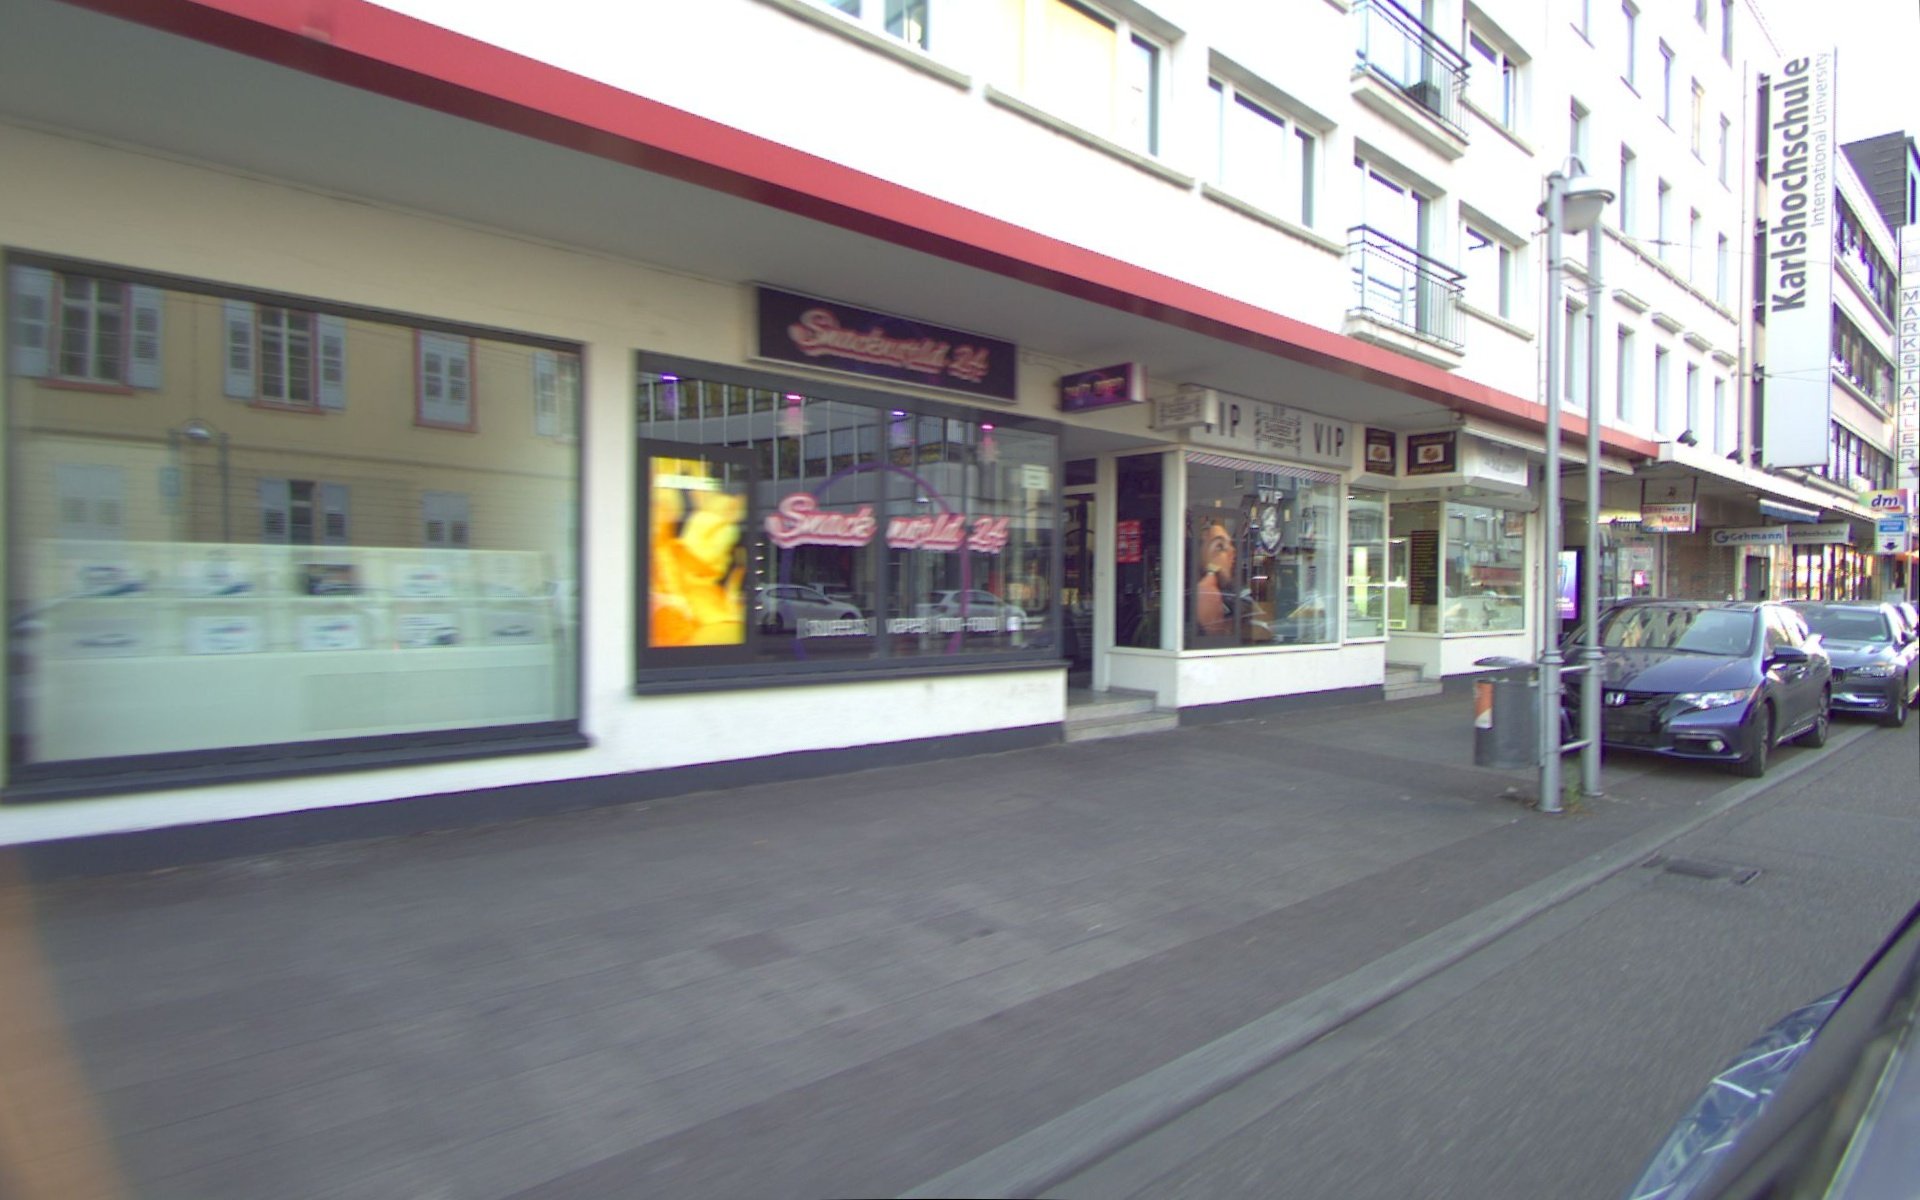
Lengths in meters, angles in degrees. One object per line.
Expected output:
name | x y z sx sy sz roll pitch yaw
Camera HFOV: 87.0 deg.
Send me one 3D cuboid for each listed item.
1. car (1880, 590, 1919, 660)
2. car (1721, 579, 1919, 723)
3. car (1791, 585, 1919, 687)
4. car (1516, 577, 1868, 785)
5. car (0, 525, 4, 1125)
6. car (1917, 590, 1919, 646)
car | 22.951 0.568 23.553 4.094 1.530 1.724 0 2 -40
car | 11.744 0.543 13.386 4.631 1.530 1.793 0 2 -42
car | 15.941 0.554 17.531 3.964 1.530 1.689 0 2 -40
car | 7.130 0.594 9.693 4.227 1.530 1.739 0 2 -40
car | -3.398 0.618 0.614 3.980 1.530 1.789 0 2 -40
car | 28.085 0.524 28.094 4.183 1.530 1.748 0 2 -40
